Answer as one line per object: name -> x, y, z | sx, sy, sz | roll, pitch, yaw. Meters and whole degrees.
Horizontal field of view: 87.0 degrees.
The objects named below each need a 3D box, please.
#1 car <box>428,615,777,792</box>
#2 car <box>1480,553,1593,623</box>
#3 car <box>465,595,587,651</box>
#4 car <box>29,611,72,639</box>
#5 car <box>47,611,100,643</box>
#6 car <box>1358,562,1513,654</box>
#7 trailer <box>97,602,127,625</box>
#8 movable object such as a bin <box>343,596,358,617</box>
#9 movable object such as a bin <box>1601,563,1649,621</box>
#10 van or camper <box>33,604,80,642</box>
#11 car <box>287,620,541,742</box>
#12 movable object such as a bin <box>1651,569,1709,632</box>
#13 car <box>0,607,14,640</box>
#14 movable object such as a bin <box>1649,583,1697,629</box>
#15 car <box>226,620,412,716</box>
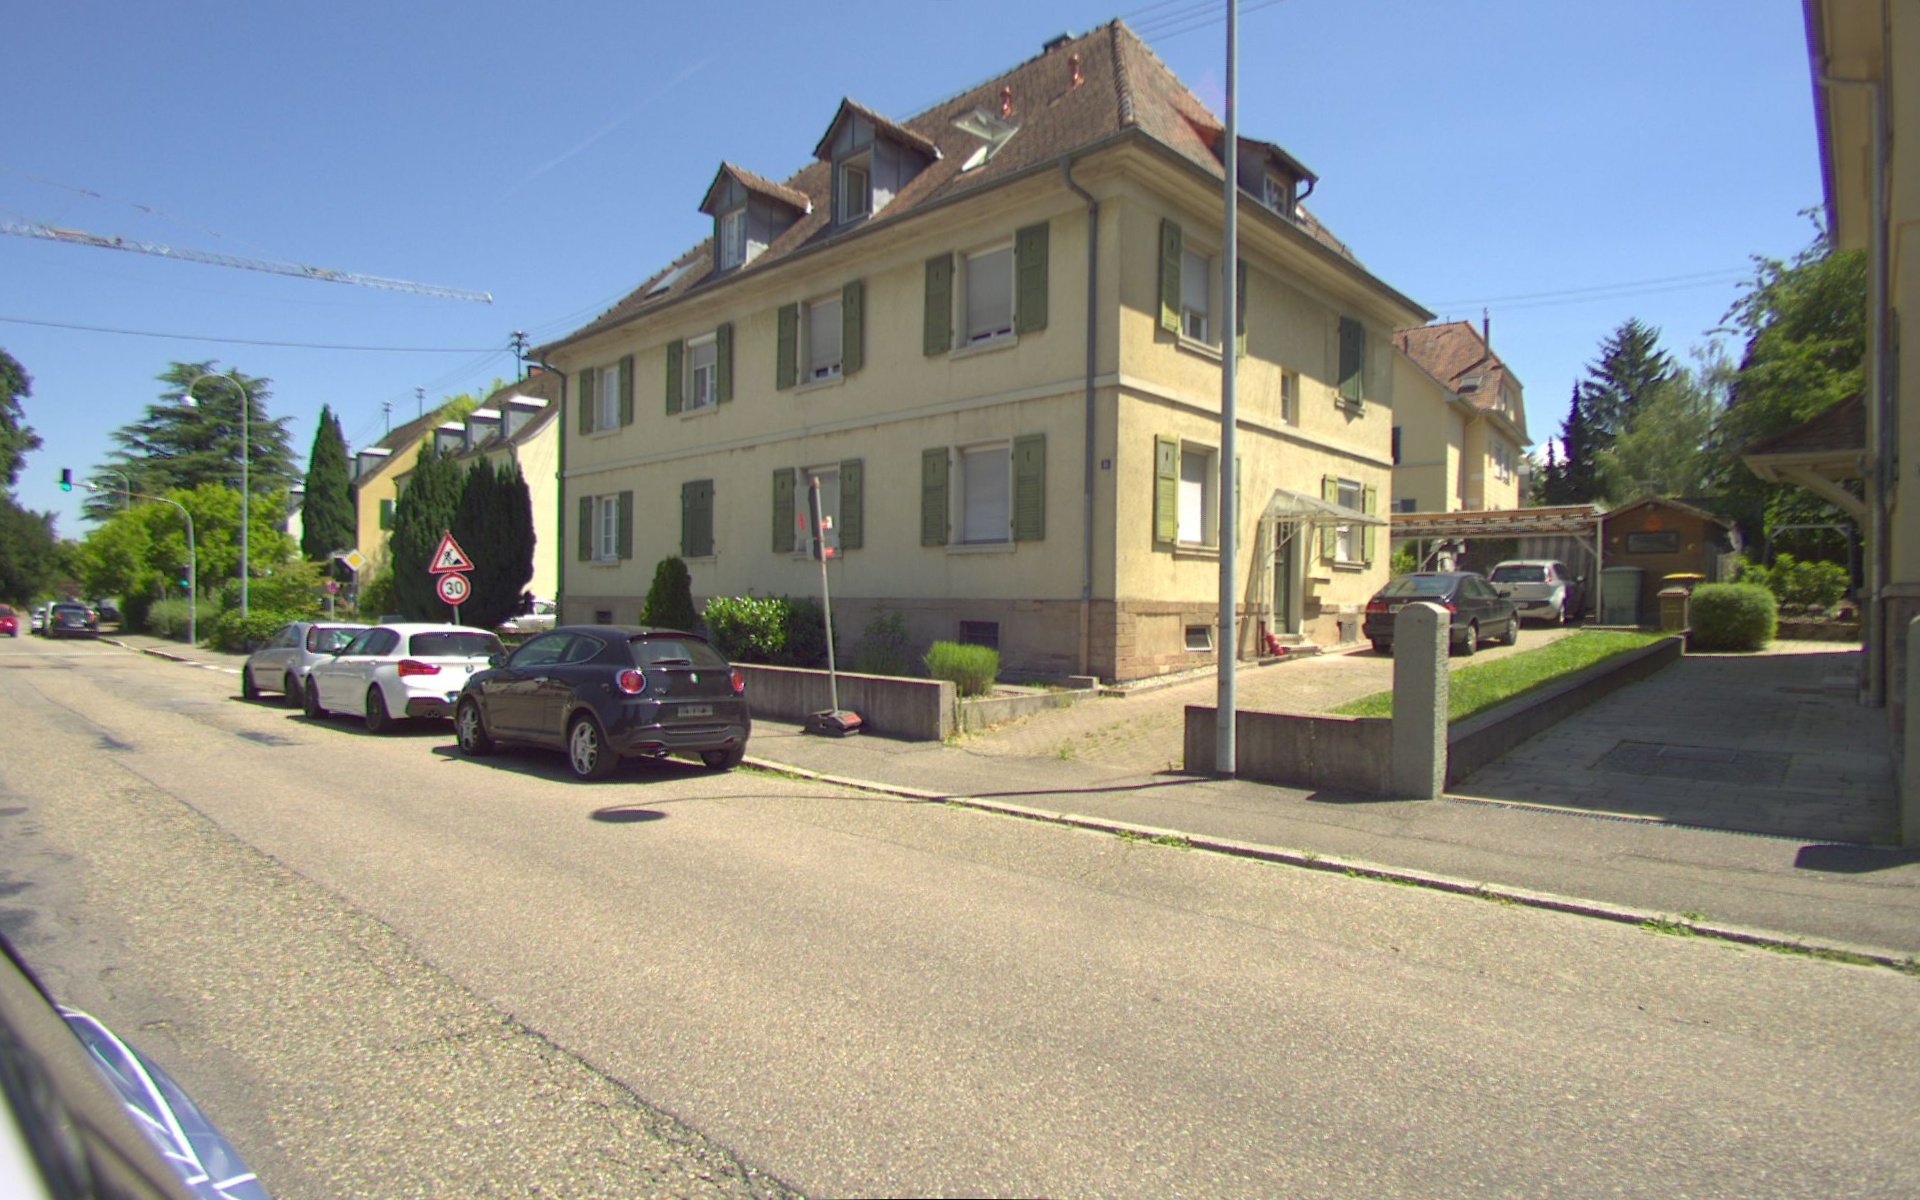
car -> -3.931, 0.951, 10.792 | 4.074, 1.496, 1.697 | 0, -2, 41
car -> 13.403, -0.273, 23.453 | 1.663, 1.475, 3.559 | -1, 0, 40
car -> -13.895, 0.695, 32.485 | 3.163, 1.467, 1.738 | -5, 4, -40
car -> -50.103, 1.372, 55.792 | 1.660, 1.452, 4.253 | 3, -2, -41
car -> -42.517, 1.278, 48.513 | 1.661, 1.423, 3.929 | 3, -2, -45
car -> 8.658, 0.092, 18.269 | 1.663, 1.475, 3.659 | -1, 1, 40
trailer -> -80.134, 1.251, 95.677 | 1.790, 2.049, 4.009 | 4, -3, -36
movable object such as a bin -> -34.966, 0.395, 58.092 | 0.613, 1.205, 0.674 | 1, -1, -43
movable object such as a bin -> 14.438, -0.162, 21.975 | 0.769, 1.240, 0.723 | 1, -1, -44
van or camper -> -46.334, 1.151, 51.861 | 1.661, 1.818, 3.989 | 3, -2, -43
car -> -7.767, 1.029, 14.237 | 4.217, 1.413, 1.775 | 0, -2, 42
movable object such as a bin -> 14.729, 0.017, 20.704 | 0.833, 1.240, 0.834 | 0, -1, 45
car -> -47.406, 1.095, 49.216 | 3.696, 1.578, 1.794 | 0, -2, 43
movable object such as a bin -> 13.800, 0.122, 19.579 | 0.668, 0.870, 0.613 | -1, -1, 45
car -> -11.395, 1.128, 17.900 | 3.923, 1.458, 1.740 | 0, -2, 42
